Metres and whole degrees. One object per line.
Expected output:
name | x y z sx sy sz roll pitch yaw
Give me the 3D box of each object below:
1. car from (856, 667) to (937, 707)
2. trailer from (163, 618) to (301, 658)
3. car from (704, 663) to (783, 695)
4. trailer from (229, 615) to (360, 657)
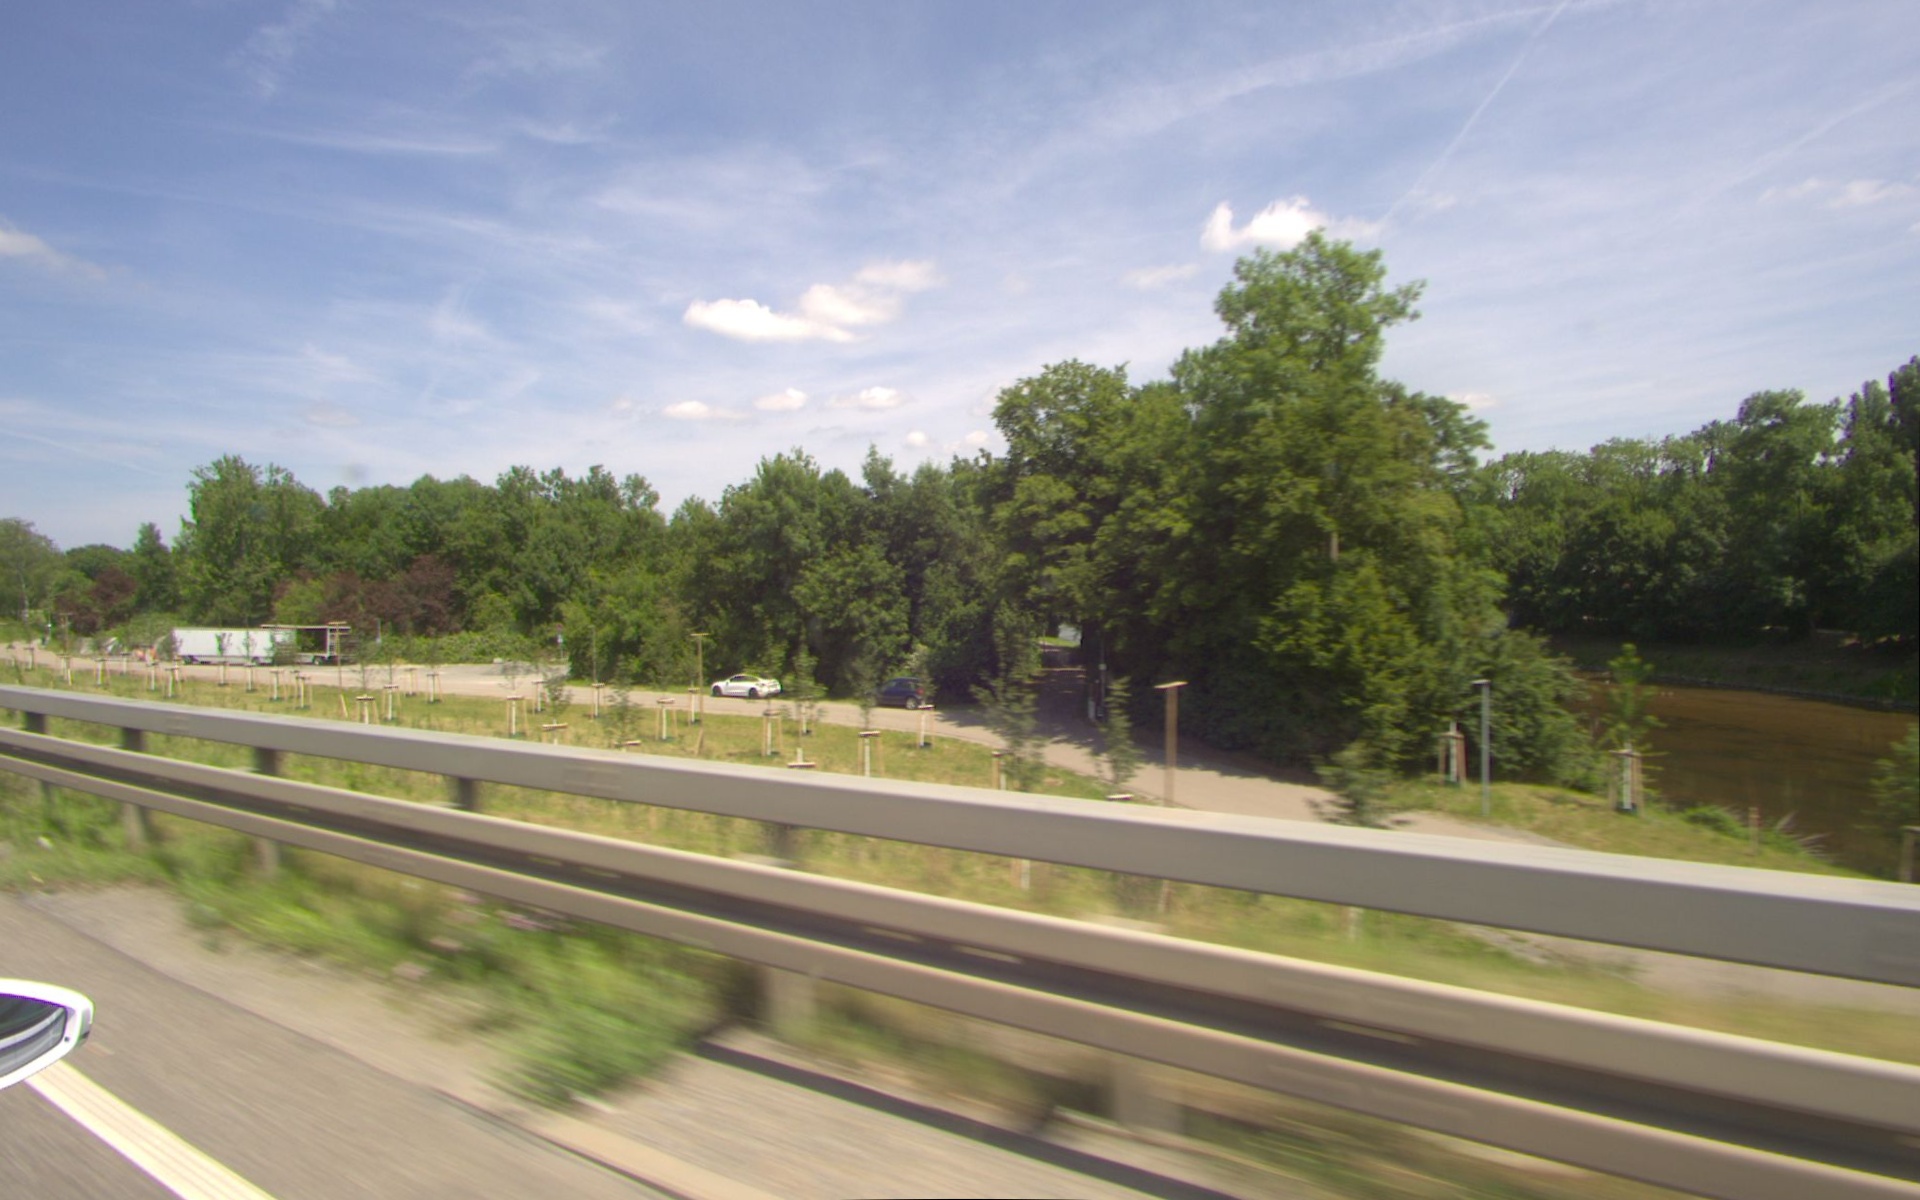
car | -3.475 4.695 54.725 4.138 1.706 1.852 1 4 32
trailer | -65.716 3.342 90.383 11.667 3.372 2.726 1 0 10
car | -13.079 4.722 60.343 4.537 1.504 1.854 0 4 29
trailer | -61.585 3.325 92.680 11.670 3.653 2.726 1 -1 12
